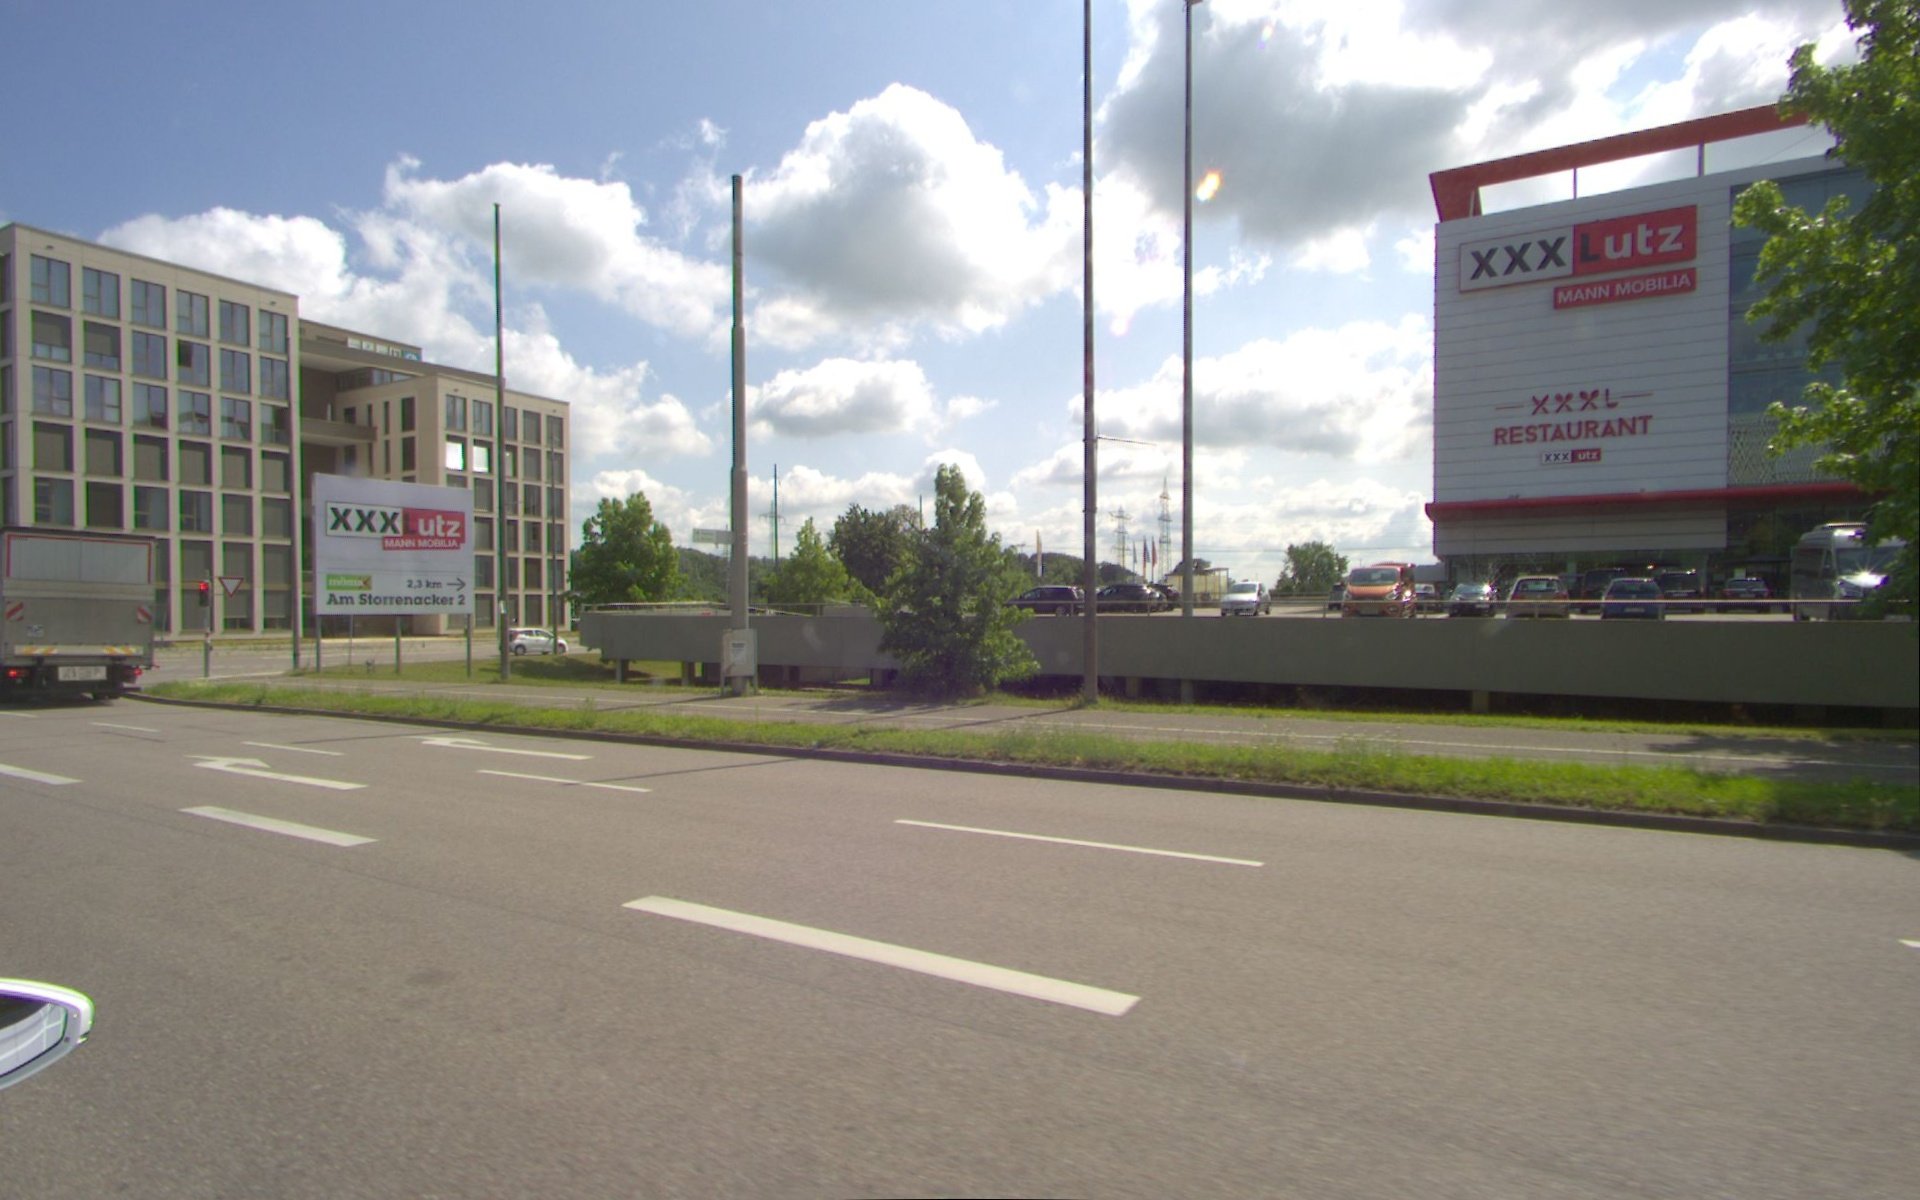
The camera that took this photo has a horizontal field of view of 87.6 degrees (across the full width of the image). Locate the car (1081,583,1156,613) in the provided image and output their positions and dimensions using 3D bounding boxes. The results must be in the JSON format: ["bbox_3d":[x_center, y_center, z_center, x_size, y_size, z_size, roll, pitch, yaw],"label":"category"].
[{"bbox_3d":[8.914,-0.097,56.245,3.807,1.621,1.742,0,-1,28],"label":"car"}]

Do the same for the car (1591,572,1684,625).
[{"bbox_3d":[21.470,0.027,31.900,1.956,1.503,4.864,-1,-2,29],"label":"car"}]

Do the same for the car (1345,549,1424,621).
[{"bbox_3d":[15.028,-0.435,35.321,1.957,2.223,5.156,-1,-3,30],"label":"car"}]

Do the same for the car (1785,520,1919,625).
[{"bbox_3d":[23.353,-0.571,25.910,2.030,2.396,5.654,-1,-2,29],"label":"car"}]

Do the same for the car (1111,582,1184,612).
[{"bbox_3d":[11.467,-0.195,61.229,3.937,1.751,1.993,0,-1,28],"label":"car"}]

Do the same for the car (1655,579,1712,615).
[{"bbox_3d":[30.984,-0.096,42.954,1.611,1.461,3.891,0,-1,31],"label":"car"}]

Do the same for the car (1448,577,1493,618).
[{"bbox_3d":[21.399,-0.076,41.906,1.610,1.596,3.894,0,-1,28],"label":"car"}]

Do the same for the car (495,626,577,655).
[{"bbox_3d":[-23.124,2.186,54.709,1.671,1.485,3.844,0,-1,32],"label":"car"}]

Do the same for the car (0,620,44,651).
[{"bbox_3d":[-47.744,1.739,49.080,1.768,1.509,3.888,0,-1,31],"label":"car"}]

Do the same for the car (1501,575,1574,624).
[{"bbox_3d":[19.086,0.038,33.269,1.956,1.472,4.864,-1,-2,29],"label":"car"}]

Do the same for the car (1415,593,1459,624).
[{"bbox_3d":[22.795,0.429,47.784,1.562,1.429,3.521,0,-1,31],"label":"car"}]

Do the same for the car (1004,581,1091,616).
[{"bbox_3d":[4.244,-0.049,48.535,3.808,1.540,1.869,-2,-2,28],"label":"car"}]

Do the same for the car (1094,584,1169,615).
[{"bbox_3d":[10.041,-0.033,58.611,3.937,1.751,1.958,0,-1,28],"label":"car"}]

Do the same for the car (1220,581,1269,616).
[{"bbox_3d":[13.699,-0.035,48.058,1.609,1.596,3.897,0,-1,26],"label":"car"}]

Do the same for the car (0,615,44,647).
[{"bbox_3d":[-50.954,1.589,51.761,1.966,1.628,4.987,0,-1,23],"label":"car"}]

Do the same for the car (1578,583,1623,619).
[{"bbox_3d":[28.184,0.055,44.114,1.562,1.484,3.521,0,-1,31],"label":"car"}]

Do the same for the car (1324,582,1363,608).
[{"bbox_3d":[23.019,-0.272,60.076,1.683,1.438,3.893,0,-1,29],"label":"car"}]

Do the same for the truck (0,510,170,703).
[{"bbox_3d":[-22.126,0.192,24.608,8.764,3.991,3.112,0,-1,44],"label":"truck"}]

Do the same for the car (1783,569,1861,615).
[{"bbox_3d":[34.847,-0.270,40.576,1.723,1.728,3.737,0,-1,30],"label":"car"}]

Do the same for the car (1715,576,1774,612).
[{"bbox_3d":[33.162,-0.224,42.397,1.529,1.388,3.432,0,-1,31],"label":"car"}]
